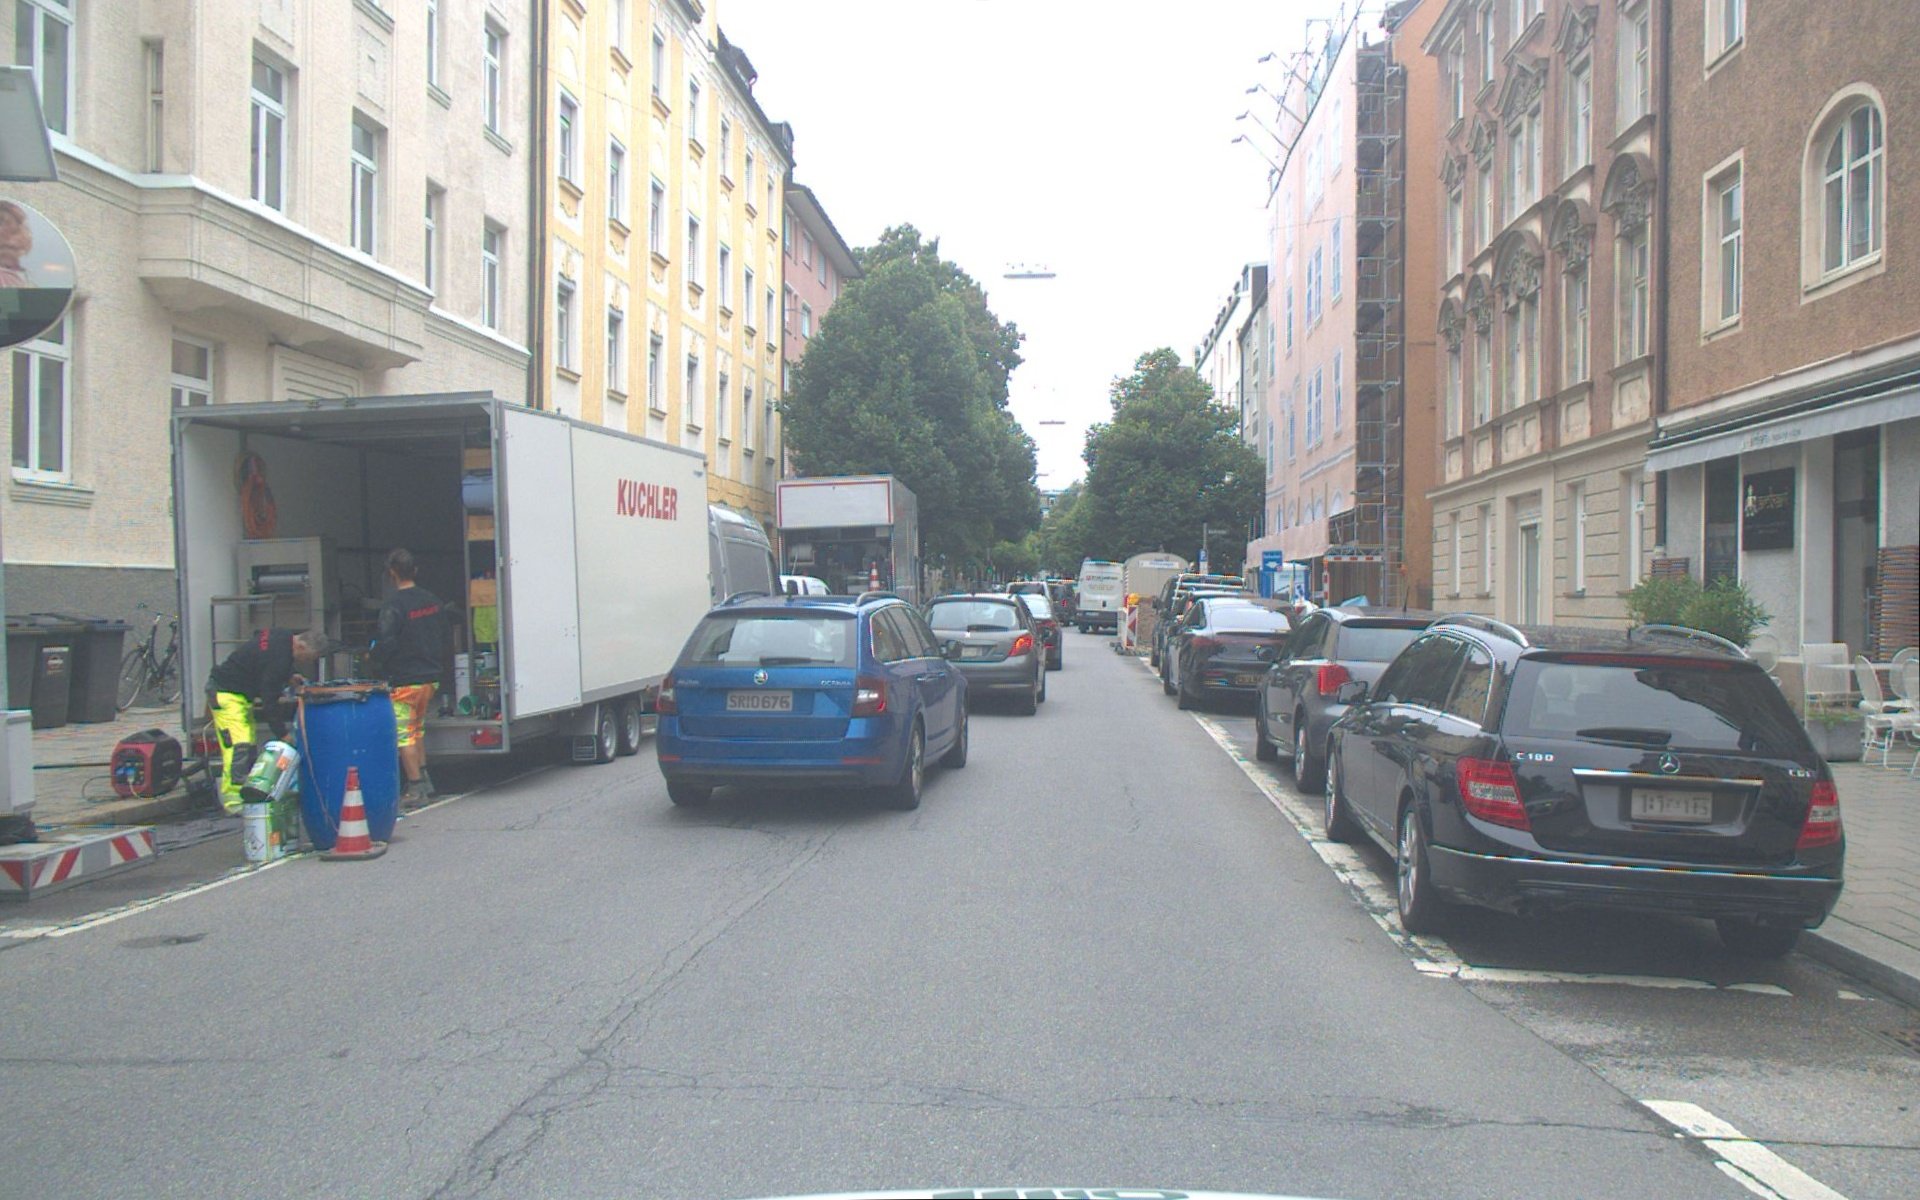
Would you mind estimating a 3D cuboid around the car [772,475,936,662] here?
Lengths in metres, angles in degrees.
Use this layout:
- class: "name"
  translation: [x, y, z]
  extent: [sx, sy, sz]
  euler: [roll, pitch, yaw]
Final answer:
- class: "car"
  translation: [-2.274, -0.662, 38.795]
  extent: [2.753, 3.884, 8.727]
  euler: [0, 0, 4]

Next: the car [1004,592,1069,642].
- class: "car"
  translation: [2.367, 0.490, 50.361]
  extent: [1.828, 1.371, 4.350]
  euler: [2, 1, 4]

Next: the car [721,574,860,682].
- class: "car"
  translation: [-3.035, 0.475, 30.475]
  extent: [1.726, 1.810, 4.329]
  euler: [-1, 0, 5]

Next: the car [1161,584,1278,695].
- class: "car"
  translation: [4.502, 0.656, 29.192]
  extent: [1.658, 1.705, 4.410]
  euler: [3, 0, 5]

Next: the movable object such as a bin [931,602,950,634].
- class: "movable object such as a bin"
  translation: [-0.738, 0.682, 62.821]
  extent: [0.697, 1.168, 0.636]
  euler: [-2, 0, 0]

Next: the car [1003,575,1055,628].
- class: "car"
  translation: [2.697, 0.042, 63.510]
  extent: [1.828, 1.902, 4.350]
  euler: [2, 1, 4]

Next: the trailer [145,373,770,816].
- class: "trailer"
  translation: [-4.041, -0.084, 15.579]
  extent: [2.744, 3.020, 7.605]
  euler: [-3, 1, 6]

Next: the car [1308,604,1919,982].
- class: "car"
  translation: [3.122, 0.760, 8.892]
  extent: [1.808, 1.429, 4.790]
  euler: [1, 0, 4]

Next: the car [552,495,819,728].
- class: "car"
  translation: [-3.558, 0.120, 23.067]
  extent: [2.013, 2.632, 6.880]
  euler: [-4, 0, 4]

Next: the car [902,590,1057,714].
- class: "car"
  translation: [0.334, 0.613, 21.411]
  extent: [1.704, 1.446, 3.666]
  euler: [1, 0, 5]

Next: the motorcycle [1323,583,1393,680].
- class: "motorcycle"
  translation: [6.595, 0.503, 27.511]
  extent: [0.853, 1.531, 1.998]
  euler: [1, 0, 6]

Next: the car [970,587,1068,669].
- class: "car"
  translation: [1.232, 0.518, 33.586]
  extent: [1.828, 1.479, 4.349]
  euler: [2, 1, 3]

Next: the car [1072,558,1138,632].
- class: "car"
  translation: [5.712, -0.171, 64.536]
  extent: [2.067, 2.710, 5.504]
  euler: [2, 0, 10]

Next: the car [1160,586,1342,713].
- class: "car"
  translation: [4.048, 0.616, 23.871]
  extent: [1.890, 1.580, 5.639]
  euler: [1, 0, 3]

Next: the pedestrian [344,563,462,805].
- class: "pedestrian"
  translation: [-3.944, 0.576, 11.753]
  extent: [0.749, 1.659, 0.634]
  euler: [0, 0, -15]

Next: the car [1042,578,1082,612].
- class: "car"
  translation: [5.385, -0.291, 86.912]
  extent: [1.965, 1.681, 4.350]
  euler: [2, 1, 4]

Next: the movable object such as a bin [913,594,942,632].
- class: "movable object such as a bin"
  translation: [-1.253, 0.489, 63.687]
  extent: [1.059, 1.400, 1.083]
  euler: [-2, 0, 0]

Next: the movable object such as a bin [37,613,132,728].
- class: "movable object such as a bin"
  translation: [-8.923, 0.709, 16.866]
  extent: [0.658, 1.148, 0.555]
  euler: [0, 0, 7]

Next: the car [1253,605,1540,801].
- class: "car"
  translation: [3.536, 0.751, 14.095]
  extent: [1.539, 1.419, 4.184]
  euler: [0, 0, 3]

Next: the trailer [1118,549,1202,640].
- class: "trailer"
  translation: [6.841, -0.158, 57.352]
  extent: [2.450, 2.889, 6.904]
  euler: [2, 0, 4]

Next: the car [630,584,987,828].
- class: "car"
  translation: [-0.909, 0.643, 12.337]
  extent: [1.751, 1.486, 4.318]
  euler: [0, 0, 7]

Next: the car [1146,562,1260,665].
- class: "car"
  translation: [5.088, 0.361, 35.238]
  extent: [2.038, 1.955, 5.143]
  euler: [2, -2, 5]

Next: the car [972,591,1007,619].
- class: "car"
  translation: [1.703, 0.268, 94.256]
  extent: [1.774, 1.504, 4.002]
  euler: [1, 1, 4]

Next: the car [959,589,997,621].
- class: "car"
  translation: [0.936, 0.219, 82.232]
  extent: [1.774, 1.504, 4.001]
  euler: [1, 1, 2]

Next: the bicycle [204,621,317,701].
- class: "bicycle"
  translation: [-8.841, 0.752, 20.971]
  extent: [0.406, 0.930, 1.758]
  euler: [3, 0, 9]

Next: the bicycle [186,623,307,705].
- class: "bicycle"
  translation: [-8.640, 0.757, 20.088]
  extent: [0.386, 0.930, 1.589]
  euler: [3, 0, 16]

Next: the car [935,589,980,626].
- class: "car"
  translation: [-0.086, 0.291, 71.537]
  extent: [1.774, 1.504, 4.001]
  euler: [1, 1, 2]

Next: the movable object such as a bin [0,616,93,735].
- class: "movable object such as a bin"
  translation: [-9.019, 0.734, 16.300]
  extent: [0.634, 1.148, 0.555]
  euler: [0, 0, 7]

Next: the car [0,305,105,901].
- class: "car"
  translation: [-5.474, 0.021, 4.710]
  extent: [2.096, 2.617, 6.798]
  euler: [0, 0, 5]

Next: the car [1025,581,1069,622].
- class: "car"
  translation: [3.890, 0.037, 73.593]
  extent: [1.828, 1.681, 4.350]
  euler: [2, 1, 4]

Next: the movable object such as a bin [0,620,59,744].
- class: "movable object such as a bin"
  translation: [-9.078, 0.768, 15.712]
  extent: [0.662, 1.148, 0.639]
  euler: [0, 0, 7]

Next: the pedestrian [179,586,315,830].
- class: "pedestrian"
  translation: [-4.859, 0.714, 11.305]
  extent: [0.748, 1.608, 0.635]
  euler: [0, 0, -13]
